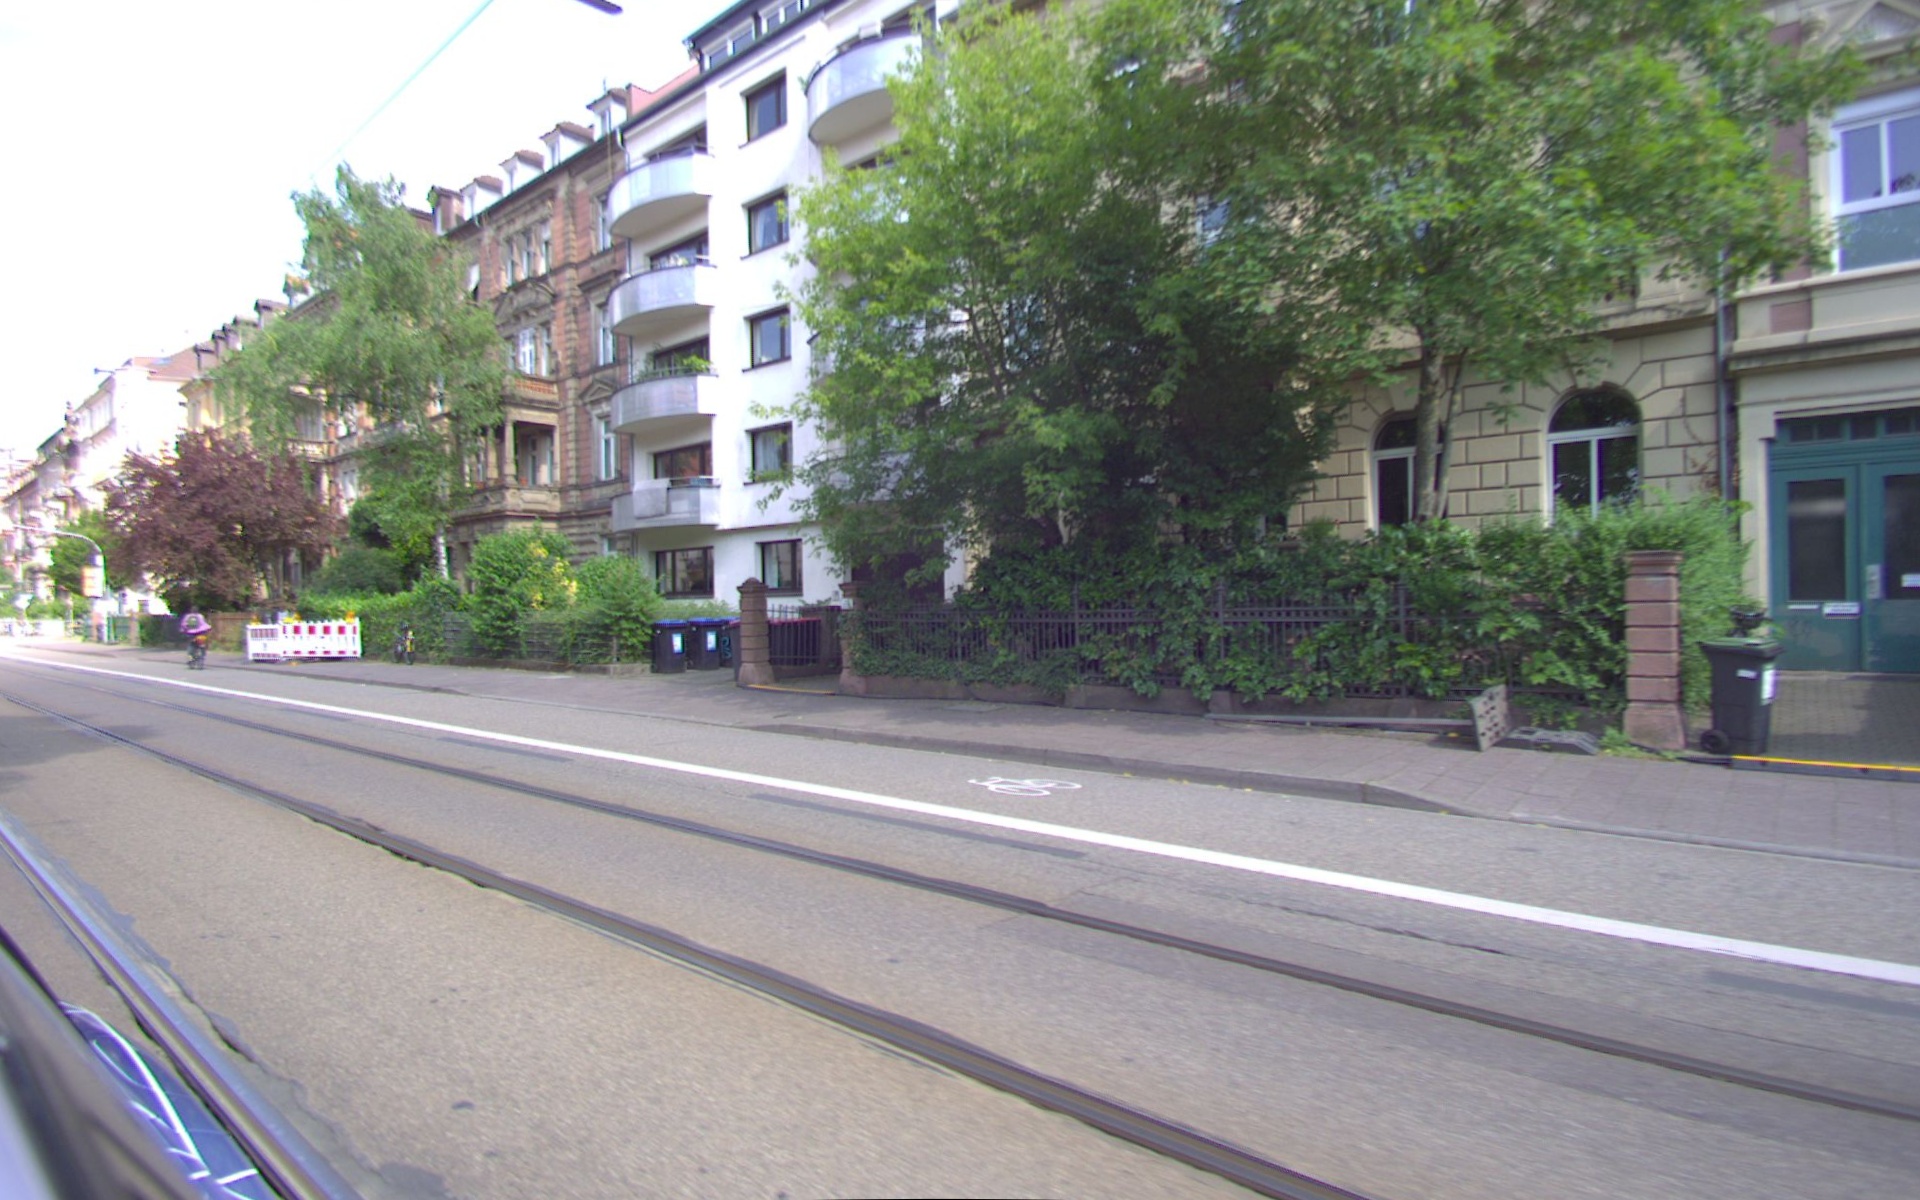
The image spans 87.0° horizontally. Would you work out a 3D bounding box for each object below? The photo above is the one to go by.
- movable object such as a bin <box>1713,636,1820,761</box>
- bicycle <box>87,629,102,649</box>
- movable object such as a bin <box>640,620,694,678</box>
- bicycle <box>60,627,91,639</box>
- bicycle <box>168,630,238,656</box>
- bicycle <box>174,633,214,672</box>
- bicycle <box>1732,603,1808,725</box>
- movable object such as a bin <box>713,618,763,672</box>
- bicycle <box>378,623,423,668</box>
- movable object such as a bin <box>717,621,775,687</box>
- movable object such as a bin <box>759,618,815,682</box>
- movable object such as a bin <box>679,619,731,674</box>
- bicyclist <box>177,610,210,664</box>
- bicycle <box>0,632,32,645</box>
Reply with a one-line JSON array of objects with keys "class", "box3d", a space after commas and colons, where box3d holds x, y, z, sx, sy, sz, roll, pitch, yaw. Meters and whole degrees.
[{"class": "movable object such as a bin", "box3d": [6.527, 0.771, 8.190, 0.640, 0.932, 0.572, -1, -1, 41]}, {"class": "bicycle", "box3d": [-45.503, 2.060, 53.192, 1.472, 0.948, 0.395, -5, -6, 43]}, {"class": "movable object such as a bin", "box3d": [-5.916, 0.977, 20.435, 0.733, 1.116, 0.765, -1, -1, 40]}, {"class": "bicycle", "box3d": [-68.148, 2.556, 78.009, 0.483, 0.948, 1.731, -1, -2, 39]}, {"class": "bicycle", "box3d": [-29.635, 1.675, 39.649, 0.586, 0.944, 2.106, -2, -1, 40]}, {"class": "bicycle", "box3d": [-20.791, 1.419, 27.456, 1.918, 0.997, 0.563, -2, -1, 43]}, {"class": "bicycle", "box3d": [8.268, 0.584, 10.294, 0.481, 1.001, 2.589, -1, 1, 41]}, {"class": "movable object such as a bin", "box3d": [-4.764, 0.961, 21.699, 0.733, 1.116, 0.765, -1, -1, 40]}, {"class": "bicycle", "box3d": [-14.571, 1.173, 26.334, 1.818, 1.146, 0.408, -1, -1, 41]}, {"class": "movable object such as a bin", "box3d": [-3.724, 0.922, 17.604, 0.732, 1.116, 0.661, -1, -1, 37]}, {"class": "movable object such as a bin", "box3d": [-3.113, 0.885, 18.235, 0.732, 1.116, 0.661, -1, -1, 37]}, {"class": "movable object such as a bin", "box3d": [-5.314, 0.962, 21.127, 0.733, 1.116, 0.765, -1, -1, 40]}, {"class": "bicyclist", "box3d": [-20.801, 0.986, 27.465, 0.942, 1.436, 0.558, -2, -1, 43]}, {"class": "bicycle", "box3d": [-70.047, 2.867, 75.071, 1.724, 0.948, 0.485, 2, -2, -25]}]
